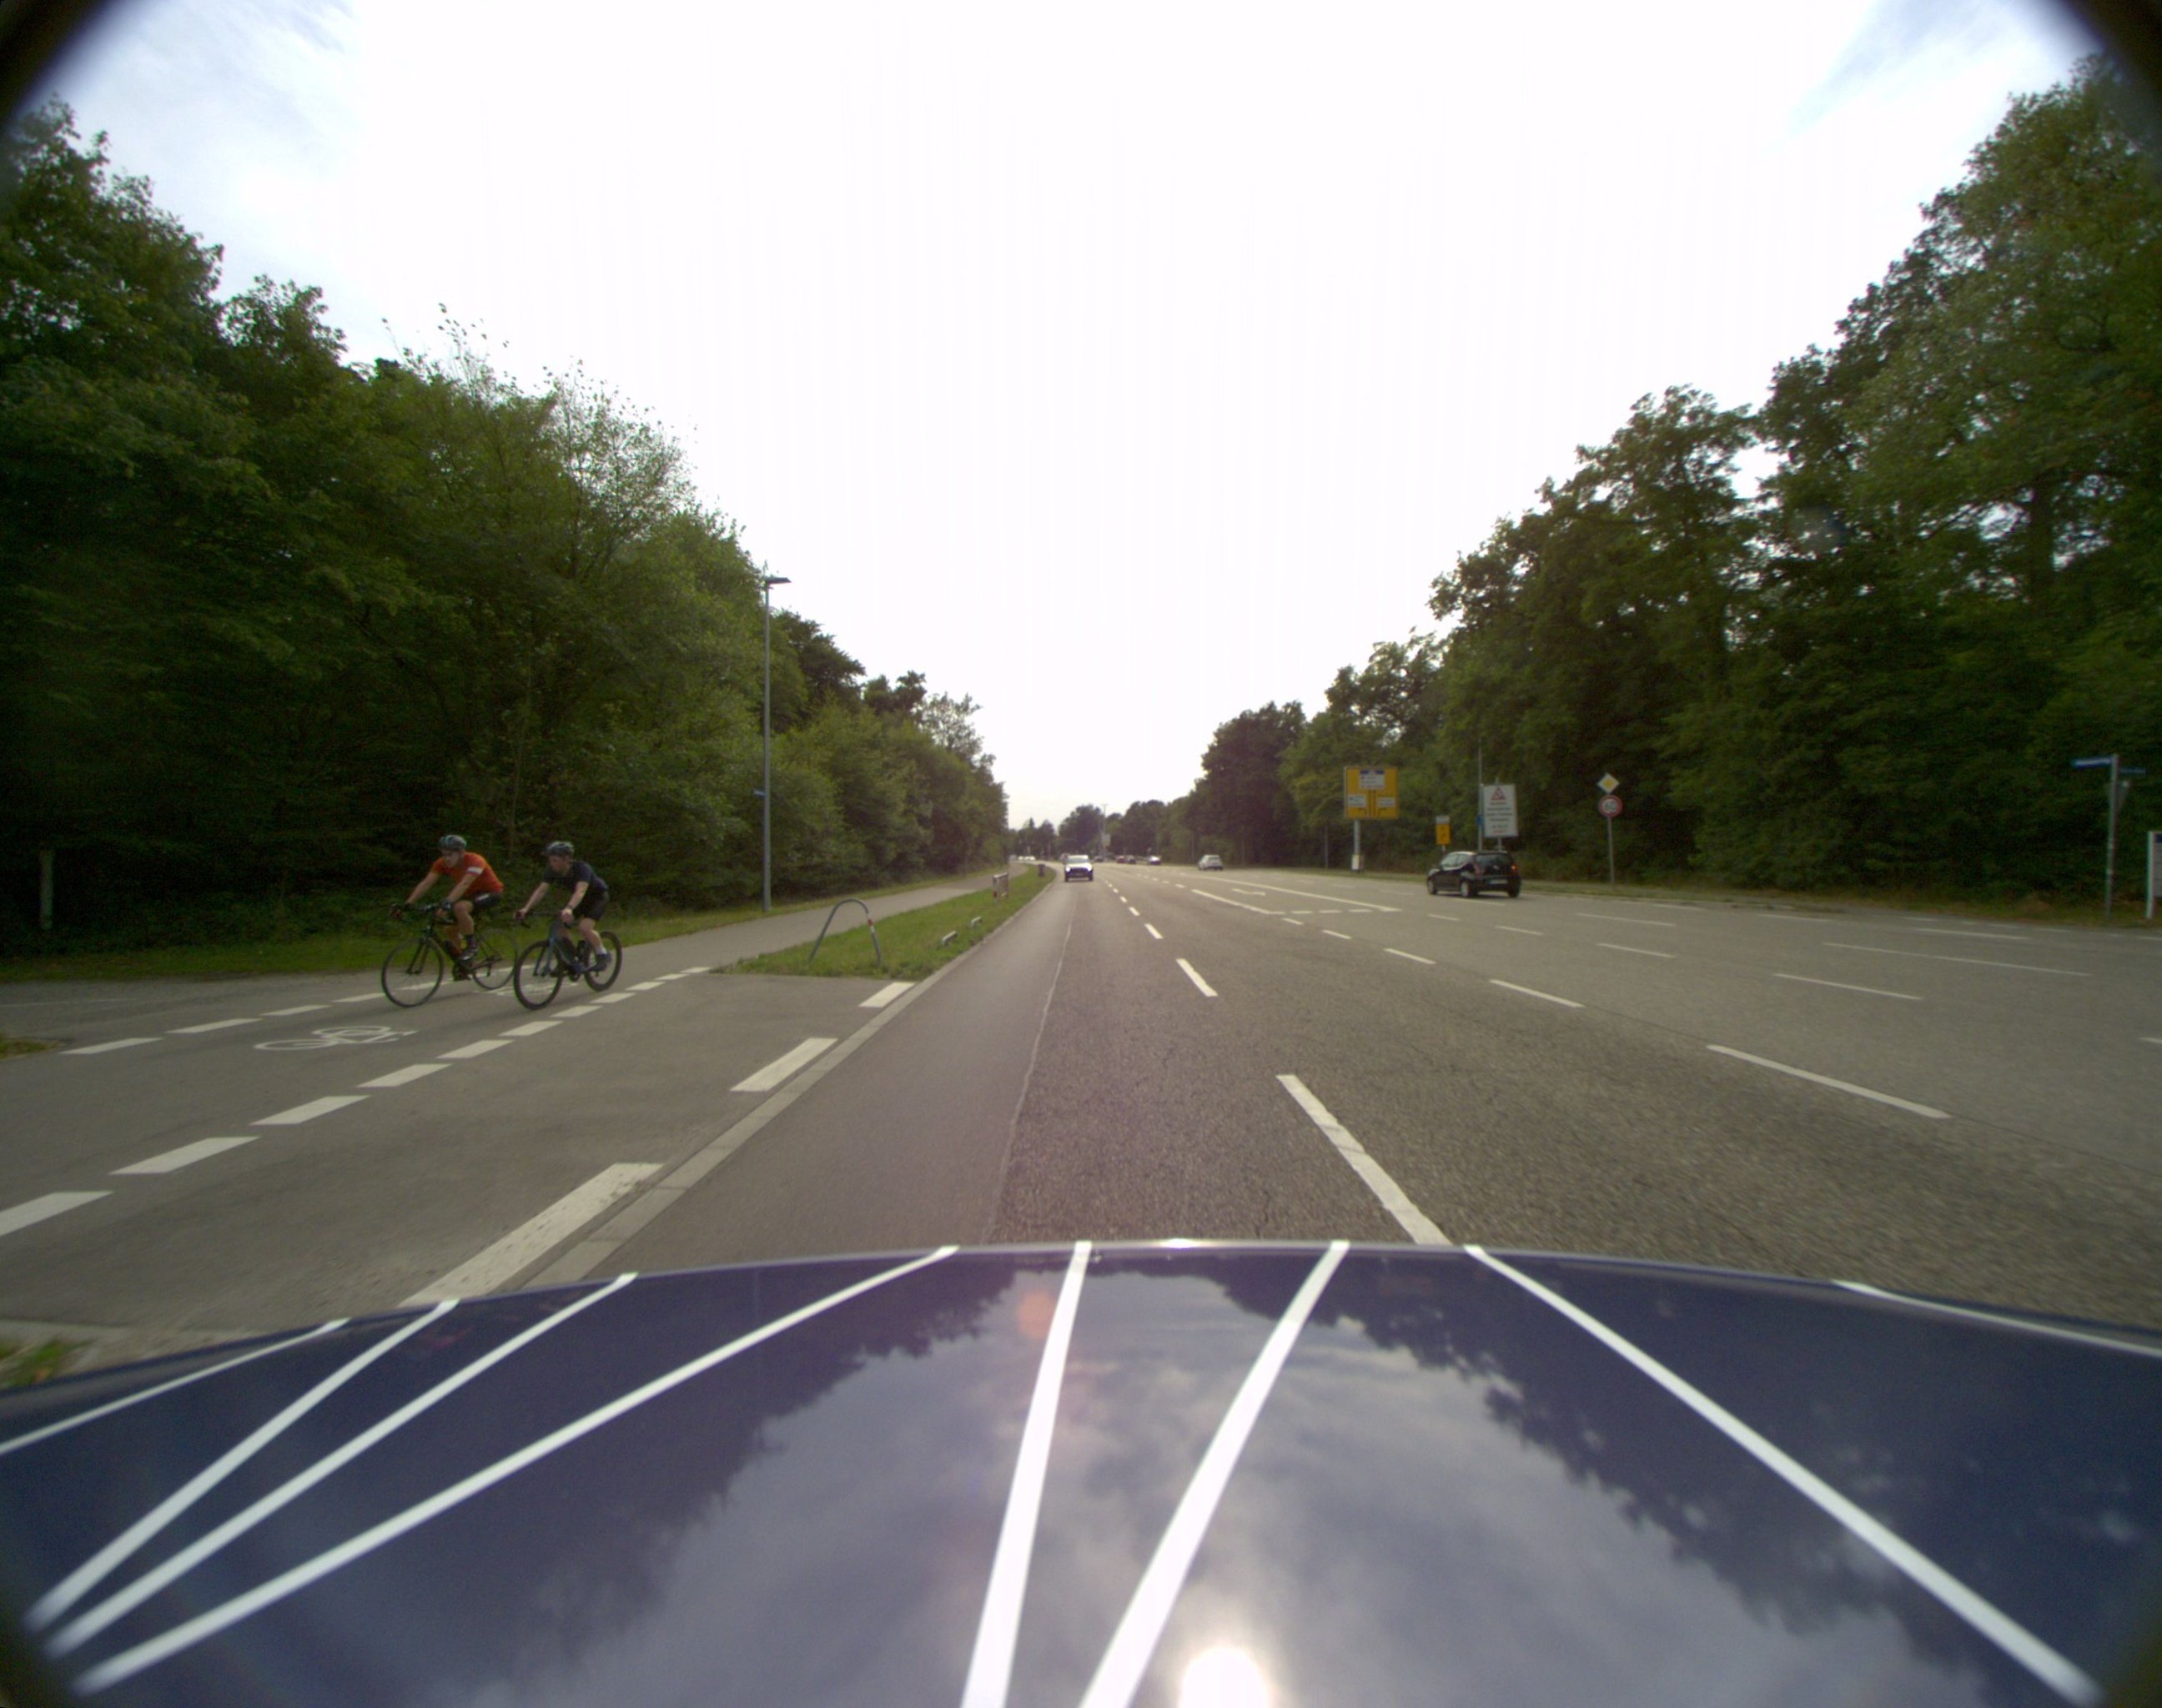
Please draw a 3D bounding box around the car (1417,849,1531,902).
[{"bbox_3d":[12.638,0.632,24.737,1.745,1.466,4.000,-3,1,3],"label":"car"}]

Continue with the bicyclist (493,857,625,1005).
[{"bbox_3d":[-5.375,0.742,7.896,0.521,1.407,1.186,-1,1,0],"label":"bicyclist"}]

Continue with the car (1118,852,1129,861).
[{"bbox_3d":[9.630,0.647,172.745,1.999,1.871,3.998,-3,1,-3],"label":"car"}]

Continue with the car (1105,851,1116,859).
[{"bbox_3d":[7.078,0.228,181.812,1.999,2.002,3.998,-3,1,-4],"label":"car"}]

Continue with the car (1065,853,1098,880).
[{"bbox_3d":[0.015,0.755,49.741,1.999,1.565,3.999,-3,1,-1],"label":"car"}]

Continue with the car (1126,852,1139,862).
[{"bbox_3d":[10.376,0.589,153.961,1.999,1.871,3.998,-3,1,-5],"label":"car"}]

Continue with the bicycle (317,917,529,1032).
[{"bbox_3d":[-6.703,1.183,7.896,0.567,0.906,1.887,1,-1,-1],"label":"bicycle"}]

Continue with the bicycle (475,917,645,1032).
[{"bbox_3d":[-5.373,1.201,7.977,0.567,0.906,1.754,0,1,0],"label":"bicycle"}]

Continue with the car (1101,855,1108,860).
[{"bbox_3d":[5.490,0.817,179.796,1.400,1.263,3.777,-3,1,-3],"label":"car"}]

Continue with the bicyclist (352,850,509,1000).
[{"bbox_3d":[-6.662,0.674,7.855,0.521,1.407,1.186,-2,1,0],"label":"bicyclist"}]

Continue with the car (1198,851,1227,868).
[{"bbox_3d":[12.853,0.479,74.695,1.940,1.492,4.590,-3,1,-1],"label":"car"}]

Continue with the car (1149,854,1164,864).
[{"bbox_3d":[13.107,0.933,132.092,1.999,1.585,3.998,-3,1,-4],"label":"car"}]
